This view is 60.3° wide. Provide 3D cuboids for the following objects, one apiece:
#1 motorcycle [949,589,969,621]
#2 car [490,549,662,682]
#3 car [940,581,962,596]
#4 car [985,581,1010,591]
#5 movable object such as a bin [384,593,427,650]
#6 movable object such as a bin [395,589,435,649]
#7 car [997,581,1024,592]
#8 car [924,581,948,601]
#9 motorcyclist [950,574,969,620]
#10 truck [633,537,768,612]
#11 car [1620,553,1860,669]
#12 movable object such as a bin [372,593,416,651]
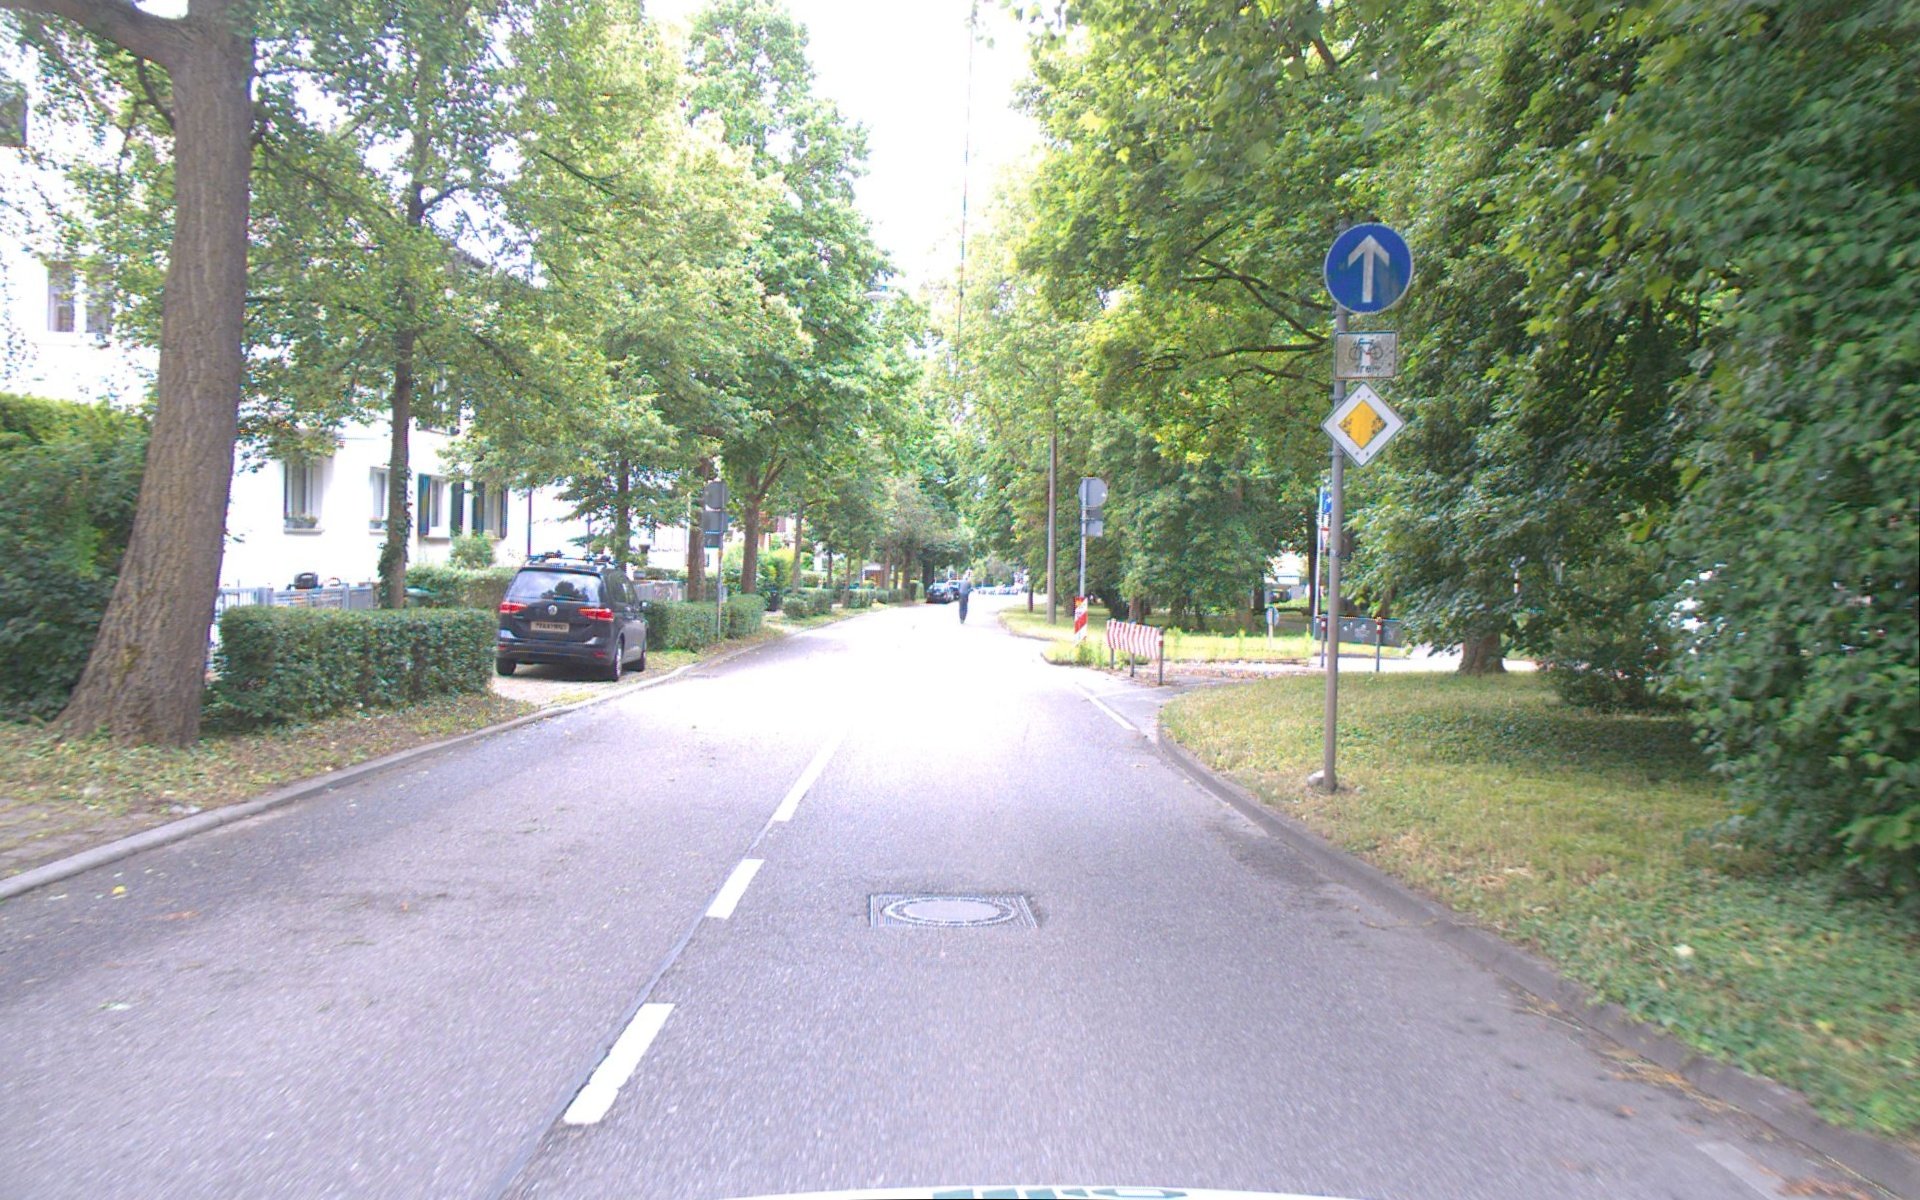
[{"bbox_3d":[-0.043,0.191,65.242,0.659,1.238,1.274,3,0,4],"label":"motorcycle"},{"bbox_3d":[-5.732,0.189,25.201,1.789,1.784,4.450,2,1,-4],"label":"car"},{"bbox_3d":[-0.866,-1.102,163.743,1.852,1.435,4.555,1,0,3],"label":"car"},{"bbox_3d":[5.790,-2.122,257.615,3.905,1.537,1.800,1,0,0],"label":"car"},{"bbox_3d":[-9.594,0.371,28.628,0.548,0.957,0.640,1,0,-6],"label":"movable object such as a bin"},{"bbox_3d":[-9.644,0.330,29.286,0.548,1.043,0.601,1,0,-6],"label":"movable object such as a bin"},{"bbox_3d":[7.514,-1.965,244.903,3.905,1.537,1.800,1,0,0],"label":"car"},{"bbox_3d":[-1.921,-0.728,132.917,1.757,1.498,4.418,1,0,0],"label":"car"},{"bbox_3d":[-0.019,-0.121,65.390,0.659,1.792,0.639,3,0,4],"label":"motorcyclist"},{"bbox_3d":[-11.807,-1.169,75.488,5.678,3.185,2.518,2,0,-1],"label":"truck"},{"bbox_3d":[16.902,0.230,35.761,5.260,2.339,2.267,1,1,-33],"label":"car"},{"bbox_3d":[-9.567,0.374,27.966,0.548,0.957,0.640,1,0,-6],"label":"movable object such as a bin"}]
